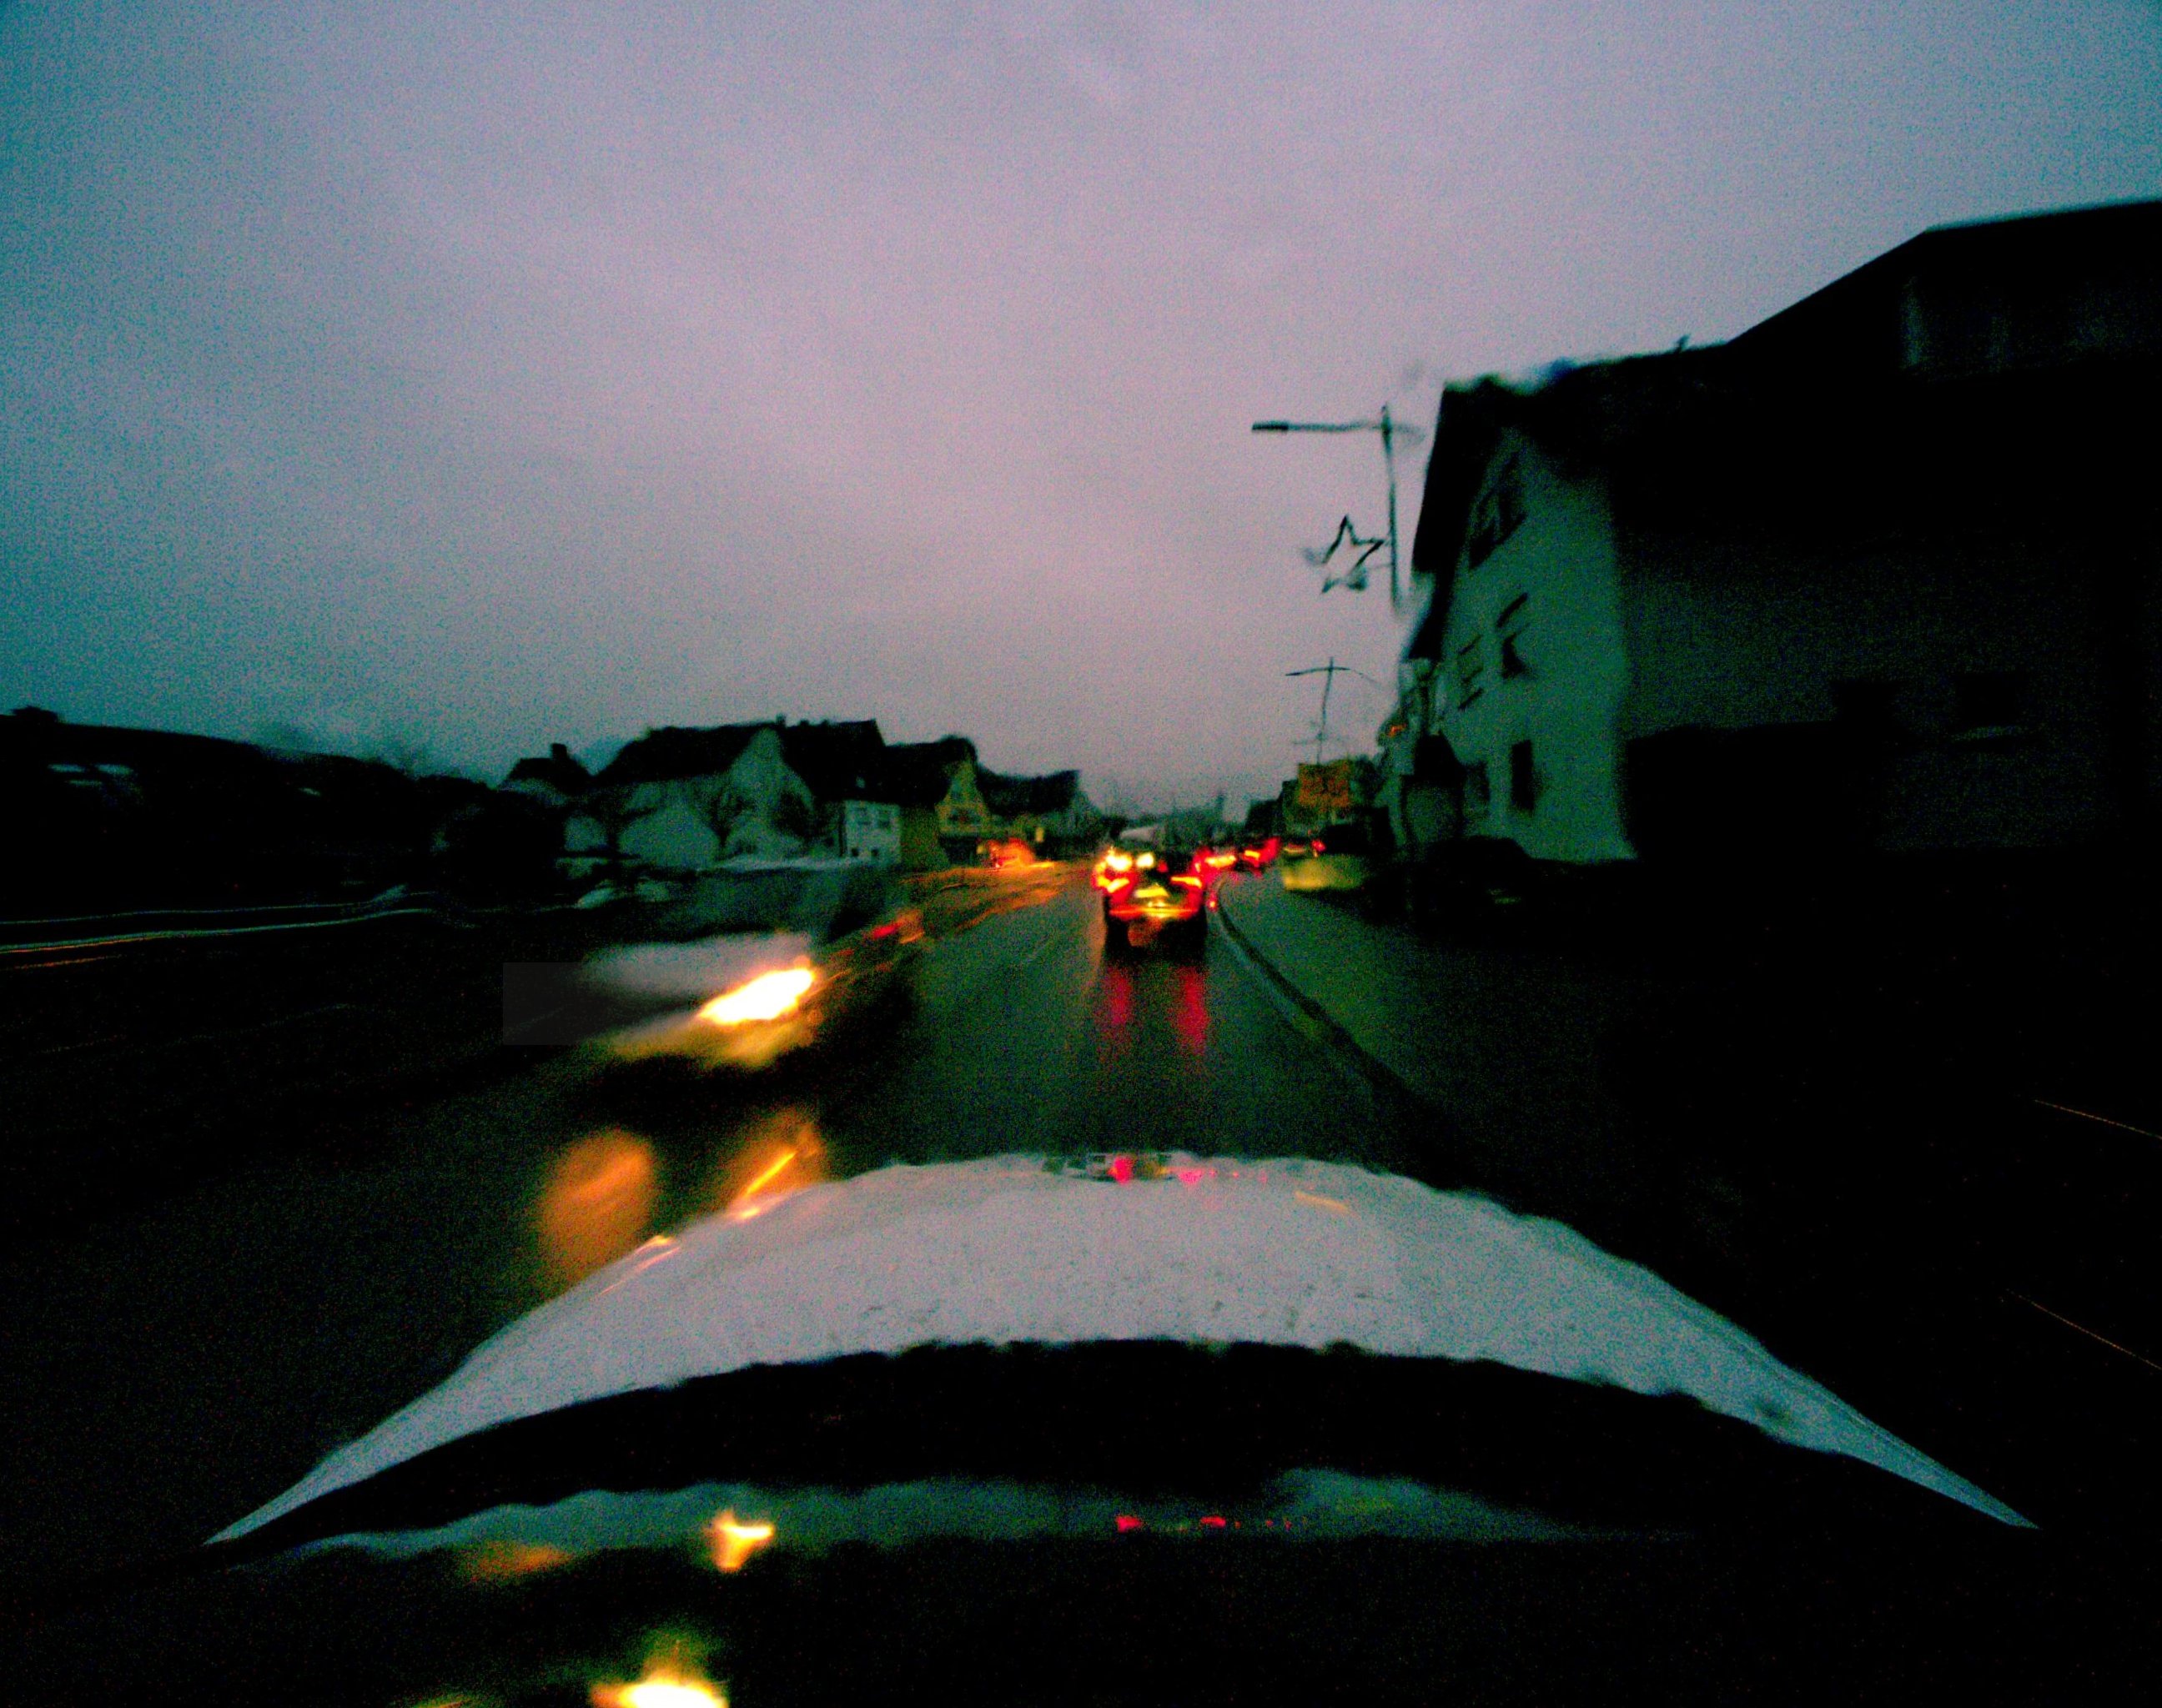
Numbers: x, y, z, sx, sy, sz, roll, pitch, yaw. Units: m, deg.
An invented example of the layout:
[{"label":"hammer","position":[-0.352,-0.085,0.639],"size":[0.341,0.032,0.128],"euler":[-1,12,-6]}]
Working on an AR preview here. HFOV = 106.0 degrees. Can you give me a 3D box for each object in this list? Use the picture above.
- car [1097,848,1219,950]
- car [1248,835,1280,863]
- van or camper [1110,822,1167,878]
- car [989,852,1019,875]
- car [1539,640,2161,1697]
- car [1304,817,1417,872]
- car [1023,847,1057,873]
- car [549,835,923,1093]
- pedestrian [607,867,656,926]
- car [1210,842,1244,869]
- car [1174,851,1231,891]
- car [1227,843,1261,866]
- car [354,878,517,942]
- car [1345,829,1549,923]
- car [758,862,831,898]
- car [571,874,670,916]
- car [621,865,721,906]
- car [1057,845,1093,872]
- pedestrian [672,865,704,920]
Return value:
[{"label":"car","position":[1.331,0.724,15.524],"size":[1.957,1.594,4.315],"euler":[-1,1,2]},{"label":"car","position":[14.740,-0.404,65.876],"size":[2.144,1.991,4.512],"euler":[-6,-1,10]},{"label":"van or camper","position":[3.180,-0.224,43.824],"size":[2.226,2.669,6.574],"euler":[-3,0,10]},{"label":"car","position":[-6.088,0.721,64.142],"size":[1.823,1.613,4.040],"euler":[-3,0,-12]},{"label":"car","position":[2.633,0.474,1.241],"size":[1.761,1.782,4.006],"euler":[-5,0,5]},{"label":"car","position":[11.923,-0.421,34.993],"size":[4.154,1.638,1.808],"euler":[-9,-1,7]},{"label":"car","position":[-3.246,0.452,63.607],"size":[2.039,1.925,4.040],"euler":[-3,0,-12]},{"label":"car","position":[-2.614,0.718,7.134],"size":[1.657,1.635,3.551],"euler":[-2,0,1]},{"label":"pedestrian","position":[-14.334,1.336,25.971],"size":[0.923,1.784,0.975],"euler":[-2,0,7]},{"label":"car","position":[8.407,0.074,46.926],"size":[1.803,1.412,4.011],"euler":[-1,1,10]},{"label":"car","position":[4.775,0.611,31.658],"size":[1.670,1.453,4.017],"euler":[-1,0,16]},{"label":"car","position":[11.325,0.006,56.487],"size":[1.979,1.391,4.017],"euler":[-3,0,15]},{"label":"car","position":[-19.162,1.608,24.420],"size":[1.558,1.580,3.826],"euler":[-4,-1,4]},{"label":"car","position":[6.591,0.365,15.205],"size":[1.762,1.393,3.908],"euler":[-4,0,-4]},{"label":"car","position":[-15.672,1.388,44.772],"size":[1.899,1.682,4.228],"euler":[-3,0,9]},{"label":"car","position":[-17.999,1.566,32.007],"size":[1.473,1.427,3.468],"euler":[-2,0,9]},{"label":"car","position":[-20.365,1.540,40.570],"size":[3.966,1.694,1.868],"euler":[-4,0,6]},{"label":"car","position":[-0.498,0.321,63.978],"size":[2.039,1.925,4.040],"euler":[-3,0,-12]},{"label":"pedestrian","position":[-12.443,1.208,25.785],"size":[0.659,1.697,0.543],"euler":[-2,0,10]}]
